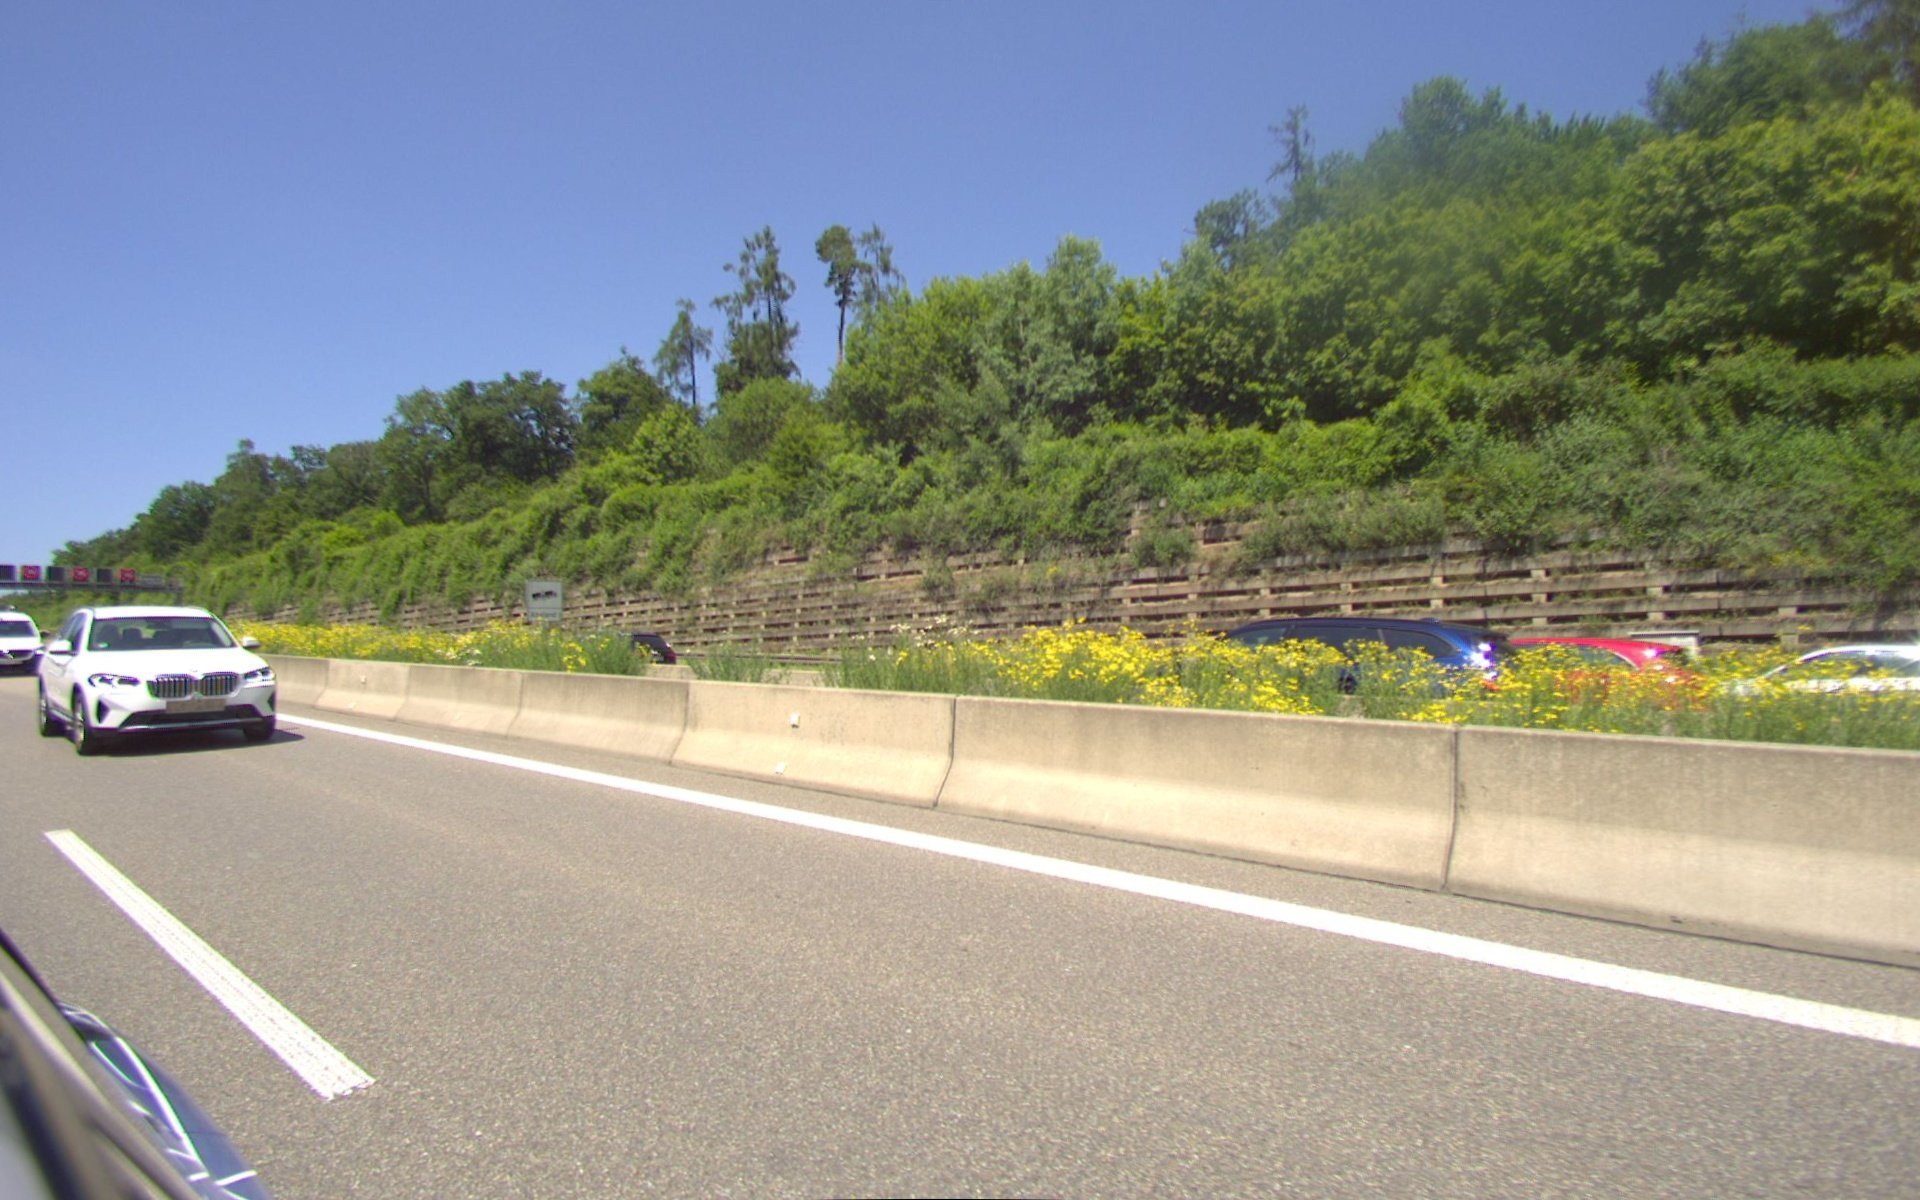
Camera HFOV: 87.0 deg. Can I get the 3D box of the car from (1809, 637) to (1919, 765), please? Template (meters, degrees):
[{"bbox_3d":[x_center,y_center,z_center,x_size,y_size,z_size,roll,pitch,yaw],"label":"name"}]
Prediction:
[{"bbox_3d":[12.471,1.223,12.376,3.151,1.533,1.424,-2,-3,40],"label":"car"}]

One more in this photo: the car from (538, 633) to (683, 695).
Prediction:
[{"bbox_3d":[-9.378,1.660,27.033,4.200,1.533,1.770,-2,-3,40],"label":"car"}]

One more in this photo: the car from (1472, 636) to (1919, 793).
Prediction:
[{"bbox_3d":[8.667,1.189,11.729,4.583,1.533,1.770,-2,-3,40],"label":"car"}]

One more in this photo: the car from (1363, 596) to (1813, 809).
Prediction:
[{"bbox_3d":[5.396,0.798,8.888,3.151,1.533,1.424,-2,-3,40],"label":"car"}]

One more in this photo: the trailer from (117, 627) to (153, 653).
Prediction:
[{"bbox_3d":[-71.069,3.443,87.154,3.494,2.133,1.875,-2,-3,42],"label":"trailer"}]

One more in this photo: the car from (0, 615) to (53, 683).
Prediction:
[{"bbox_3d":[-27.379,1.408,28.723,4.500,1.788,1.972,-3,-1,43],"label":"car"}]

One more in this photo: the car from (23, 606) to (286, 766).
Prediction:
[{"bbox_3d":[-10.224,0.946,12.724,4.366,1.656,1.826,-1,-1,41],"label":"car"}]
